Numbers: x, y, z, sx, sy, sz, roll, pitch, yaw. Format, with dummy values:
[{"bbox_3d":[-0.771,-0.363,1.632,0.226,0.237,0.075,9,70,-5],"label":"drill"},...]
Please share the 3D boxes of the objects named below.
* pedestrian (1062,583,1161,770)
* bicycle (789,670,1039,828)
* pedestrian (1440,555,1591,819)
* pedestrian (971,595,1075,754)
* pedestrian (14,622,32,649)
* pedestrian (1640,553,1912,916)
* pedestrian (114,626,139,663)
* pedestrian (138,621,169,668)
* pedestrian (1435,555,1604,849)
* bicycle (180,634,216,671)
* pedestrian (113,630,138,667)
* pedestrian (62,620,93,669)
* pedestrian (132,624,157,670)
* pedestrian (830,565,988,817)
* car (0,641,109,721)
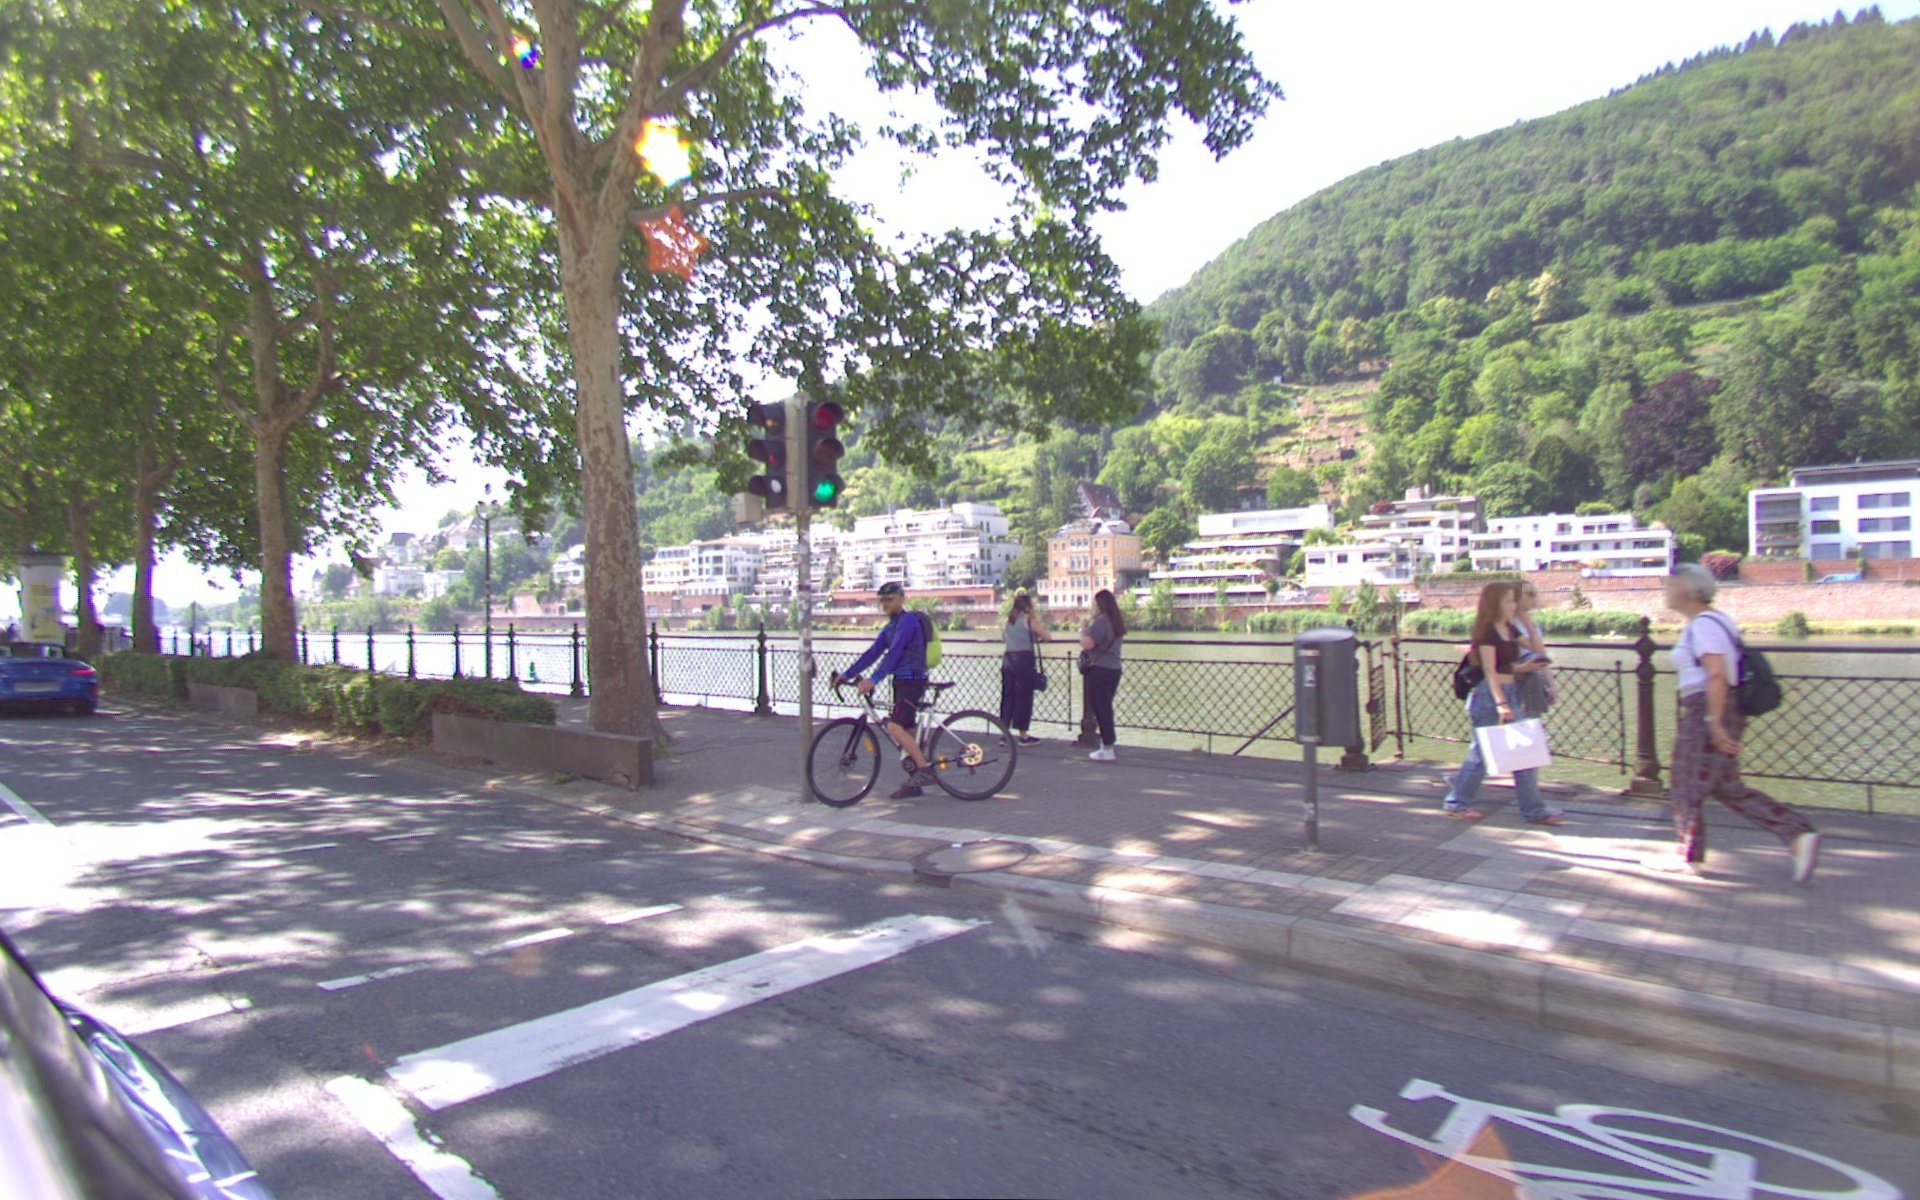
[{"bbox_3d":[1.459,0.700,9.730,0.695,1.713,0.612,-1,0,40],"label":"pedestrian"},{"bbox_3d":[-0.383,1.125,7.910,1.801,0.932,0.744,-5,1,-9],"label":"bicycle"},{"bbox_3d":[3.909,0.581,7.123,0.793,1.727,0.646,-2,-2,40],"label":"pedestrian"},{"bbox_3d":[0.674,0.771,10.881,0.910,1.620,0.544,-1,1,40],"label":"pedestrian"},{"bbox_3d":[-61.158,2.325,66.051,0.729,1.719,0.750,-1,-1,40],"label":"pedestrian"},{"bbox_3d":[4.041,0.610,5.063,0.991,1.629,0.488,-1,-1,40],"label":"pedestrian"},{"bbox_3d":[-30.443,1.622,36.955,0.552,1.330,0.625,-1,-1,40],"label":"pedestrian"},{"bbox_3d":[-29.938,1.628,37.572,0.709,1.696,0.783,-1,-1,40],"label":"pedestrian"},{"bbox_3d":[3.608,0.605,6.516,0.782,1.726,0.827,-1,-1,40],"label":"pedestrian"},{"bbox_3d":[-25.429,1.744,33.764,1.843,1.161,0.557,-1,1,41],"label":"bicycle"},{"bbox_3d":[-30.499,1.750,36.981,0.552,1.330,0.625,-2,-2,40],"label":"pedestrian"},{"bbox_3d":[-31.774,1.593,36.438,0.729,1.743,0.750,-1,-1,40],"label":"pedestrian"},{"bbox_3d":[-30.131,1.724,37.372,0.552,1.640,0.625,-1,-1,40],"label":"pedestrian"},{"bbox_3d":[-0.427,0.681,7.985,1.009,1.786,0.770,-5,0,-9],"label":"pedestrian"},{"bbox_3d":[-16.956,1.391,18.167,4.259,1.279,1.822,-1,-4,40],"label":"car"}]
